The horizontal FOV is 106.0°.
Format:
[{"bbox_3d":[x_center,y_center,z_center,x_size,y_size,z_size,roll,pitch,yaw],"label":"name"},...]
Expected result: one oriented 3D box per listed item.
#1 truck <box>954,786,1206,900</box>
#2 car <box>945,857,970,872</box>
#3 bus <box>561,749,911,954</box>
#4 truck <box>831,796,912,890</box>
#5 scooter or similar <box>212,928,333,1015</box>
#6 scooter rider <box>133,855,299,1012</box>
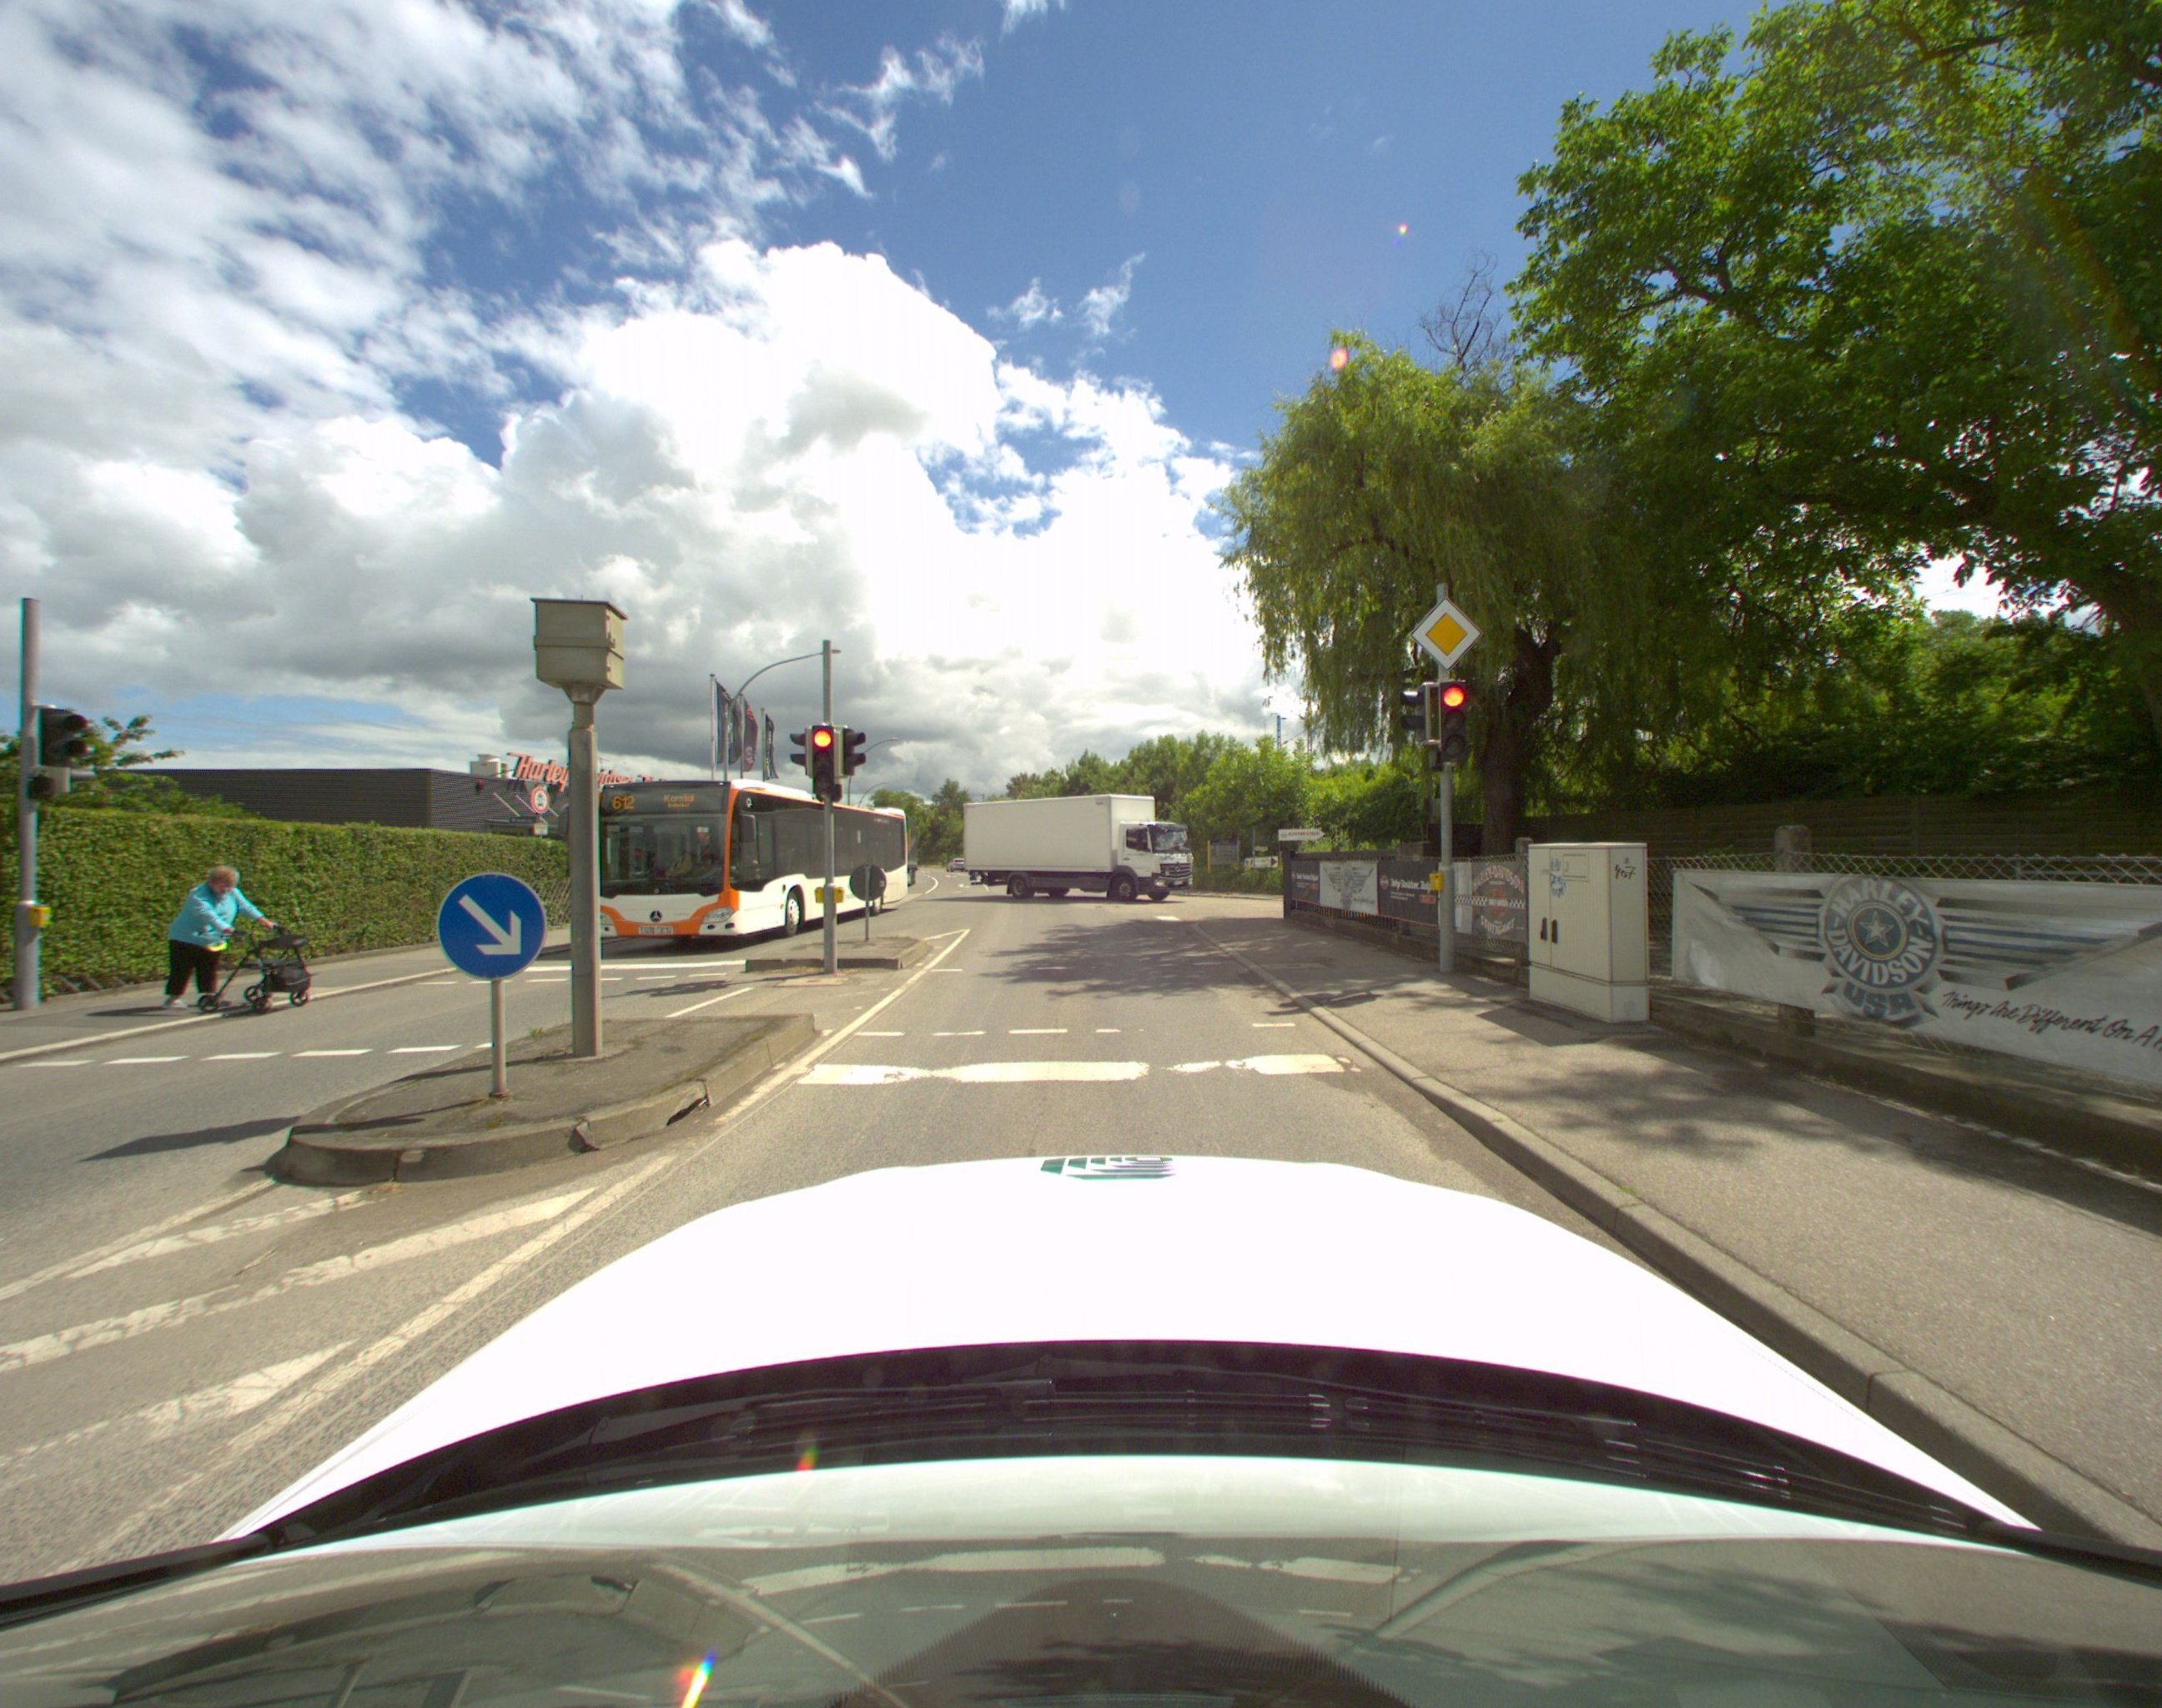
[{"bbox_3d":[-0.370,-0.293,29.487,9.600,3.541,2.866,-1,0,42],"label":"truck"},{"bbox_3d":[-13.383,1.116,87.902,1.891,1.508,3.973,0,0,-20],"label":"car"},{"bbox_3d":[-6.921,-0.006,19.383,2.767,3.266,12.127,-2,0,2],"label":"bus"},{"bbox_3d":[-10.213,-0.449,40.598,2.425,4.131,9.132,1,-1,-6],"label":"truck"},{"bbox_3d":[-8.685,1.248,8.772,0.609,0.831,0.659,1,0,0],"label":"scooter or similar"},{"bbox_3d":[-9.236,0.813,8.734,0.875,1.589,0.796,1,0,0],"label":"scooter rider"}]
